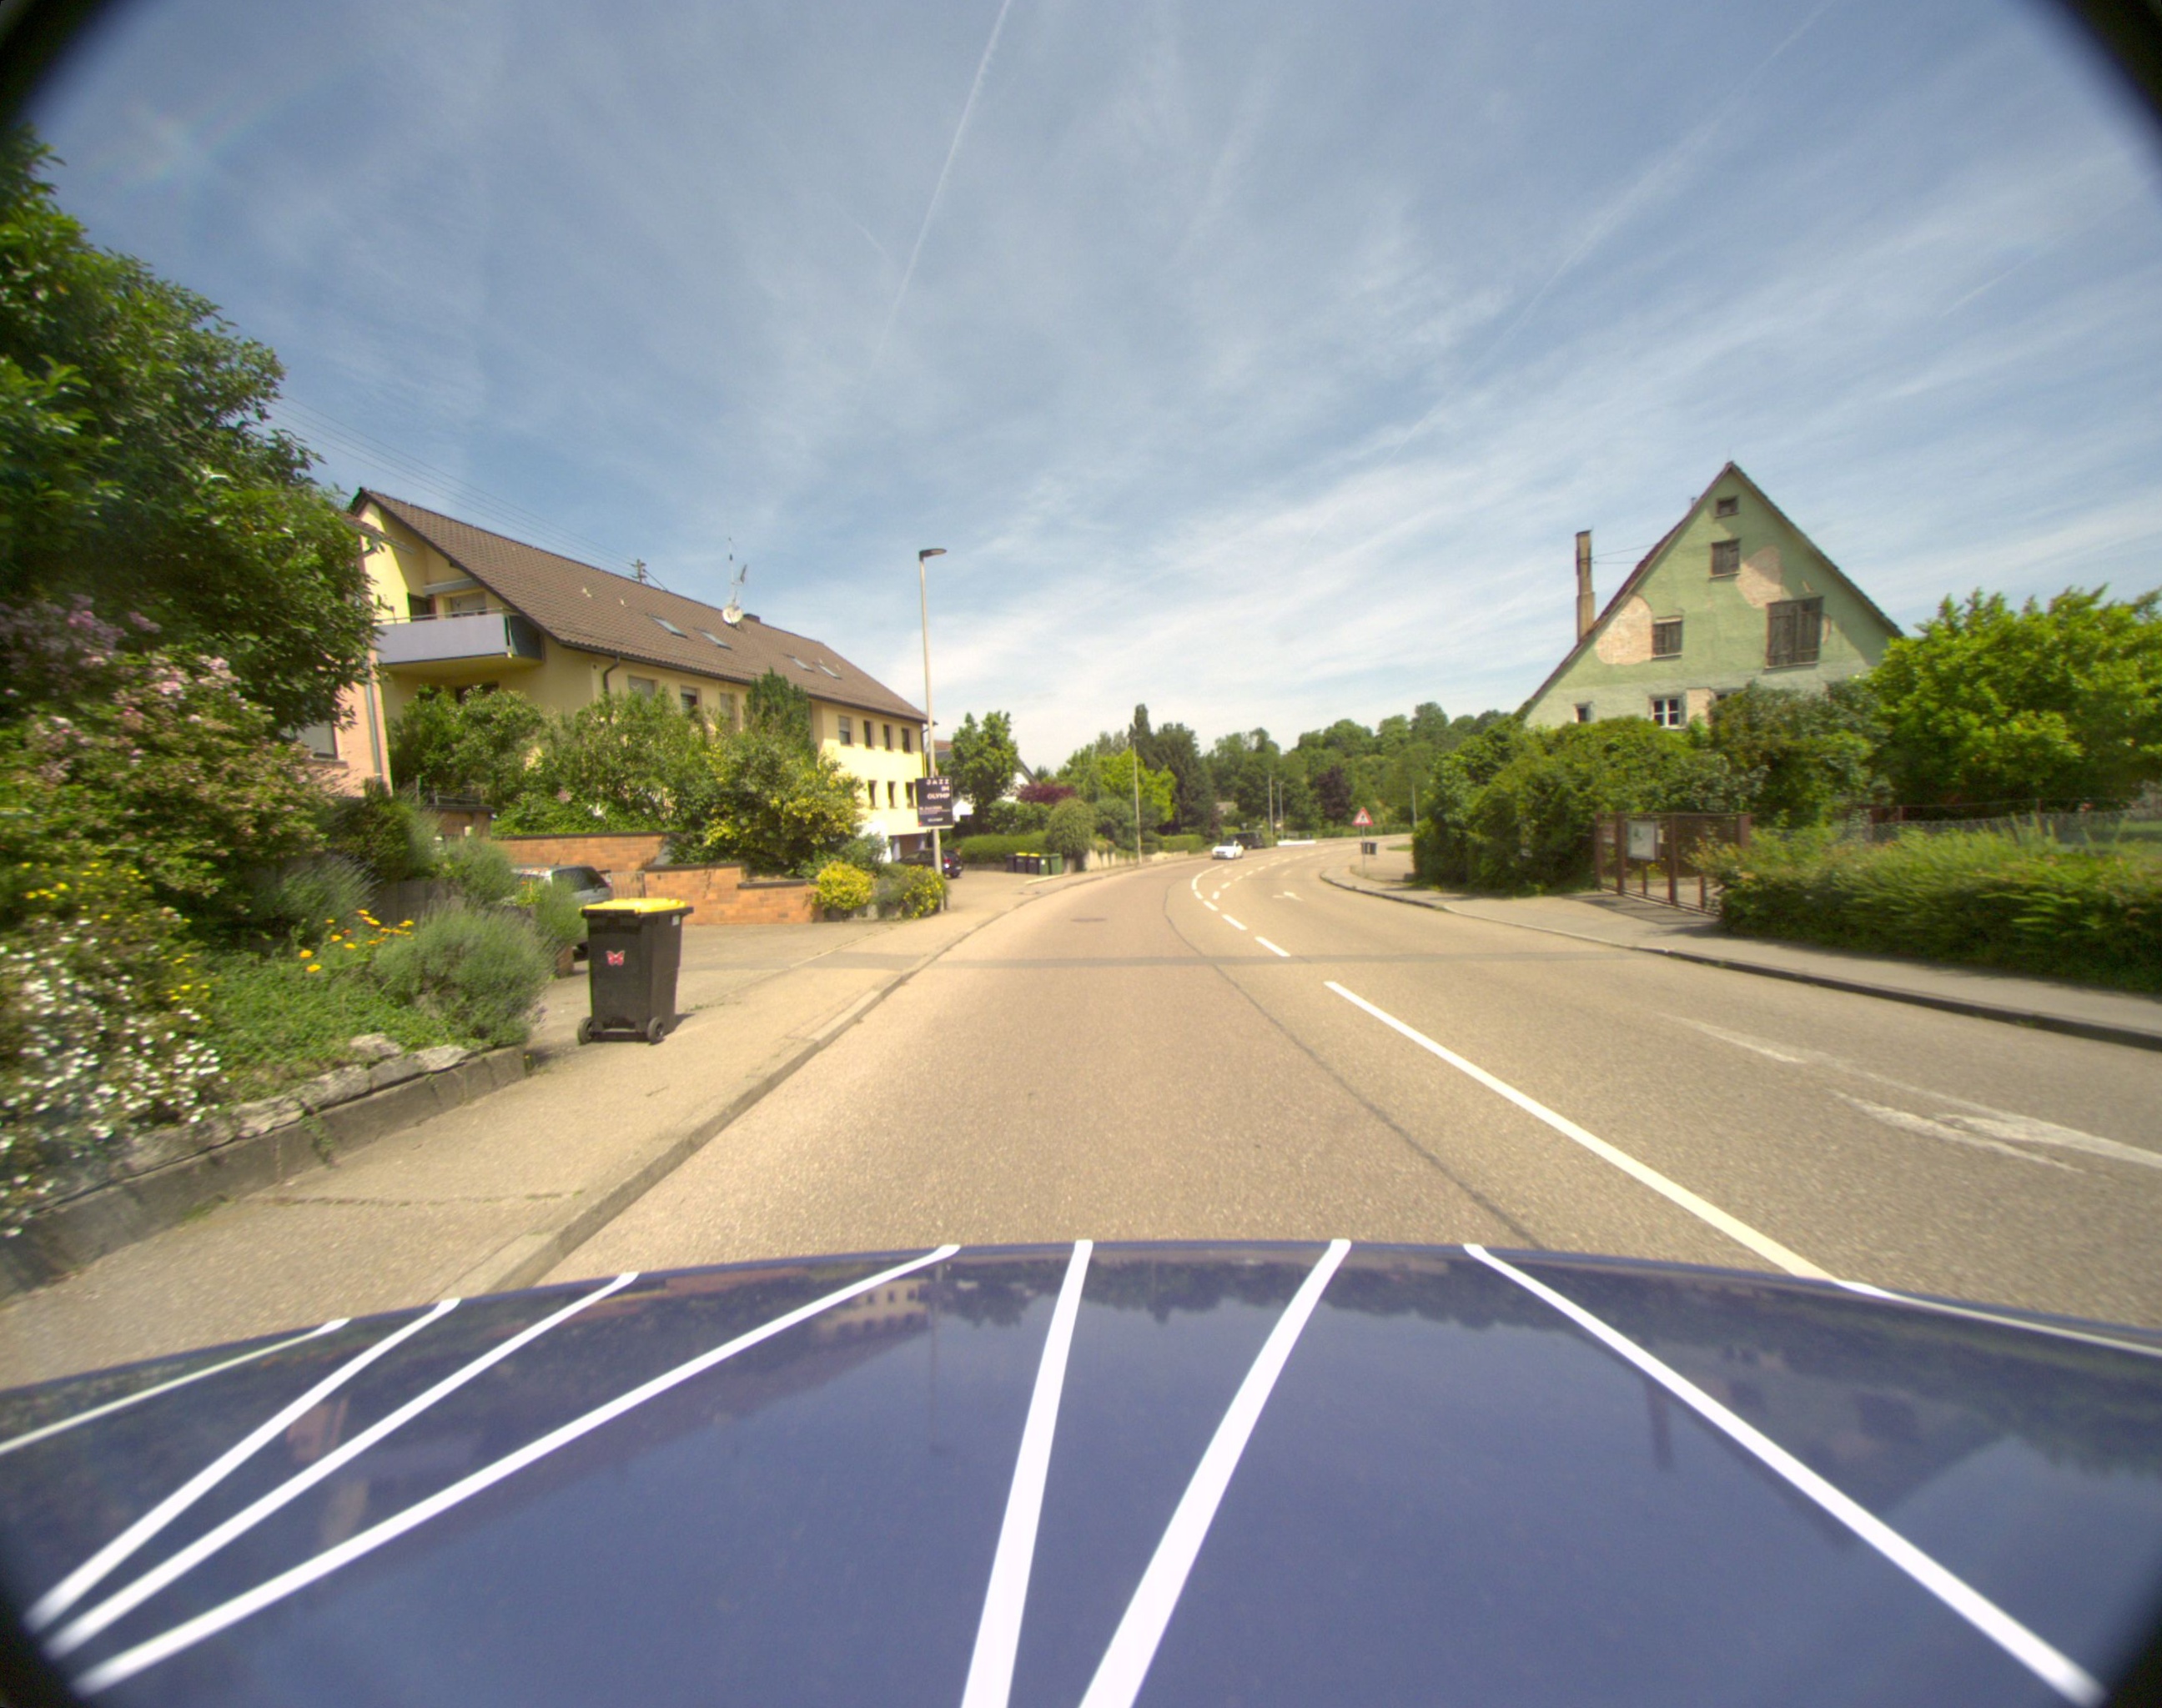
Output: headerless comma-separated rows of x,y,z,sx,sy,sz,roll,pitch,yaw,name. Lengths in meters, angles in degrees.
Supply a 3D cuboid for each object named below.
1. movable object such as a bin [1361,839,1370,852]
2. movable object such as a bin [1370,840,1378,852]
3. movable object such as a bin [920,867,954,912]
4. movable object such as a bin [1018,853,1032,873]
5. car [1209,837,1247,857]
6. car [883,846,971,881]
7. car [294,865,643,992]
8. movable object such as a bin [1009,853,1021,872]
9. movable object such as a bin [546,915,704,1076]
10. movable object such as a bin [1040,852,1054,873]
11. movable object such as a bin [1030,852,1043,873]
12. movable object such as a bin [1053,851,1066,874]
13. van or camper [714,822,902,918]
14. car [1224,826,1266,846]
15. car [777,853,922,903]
25.055,-0.752,66.875,0.553,1.075,0.541,-3,1,6,movable object such as a bin
25.168,-0.695,65.246,0.534,1.044,0.541,-3,1,6,movable object such as a bin
-3.700,0.904,19.562,0.550,1.062,0.659,-8,1,9,movable object such as a bin
-2.870,0.446,39.053,0.485,1.016,0.565,1,3,21,movable object such as a bin
11.967,-0.610,61.675,1.823,1.543,4.006,1,3,28,car
-7.255,0.454,35.845,3.685,1.410,1.646,-2,2,18,car
-9.090,1.050,11.567,3.652,1.490,1.836,-4,1,-3,car
-3.418,0.429,39.188,0.449,0.950,0.516,2,3,18,movable object such as a bin
-3.469,1.047,5.863,0.589,1.053,0.919,-2,1,2,movable object such as a bin
-1.718,0.430,38.616,0.485,1.065,0.565,-2,2,21,movable object such as a bin
-2.260,0.441,38.847,0.485,1.016,0.565,1,3,21,movable object such as a bin
-1.081,0.429,38.440,0.485,1.101,0.565,-2,2,14,movable object such as a bin
-8.927,0.506,25.037,5.234,2.632,2.286,-4,3,16,van or camper
17.639,-1.929,81.868,3.900,1.938,1.959,-2,1,33,car
-8.497,0.871,27.985,4.706,1.555,1.910,-2,3,15,car
